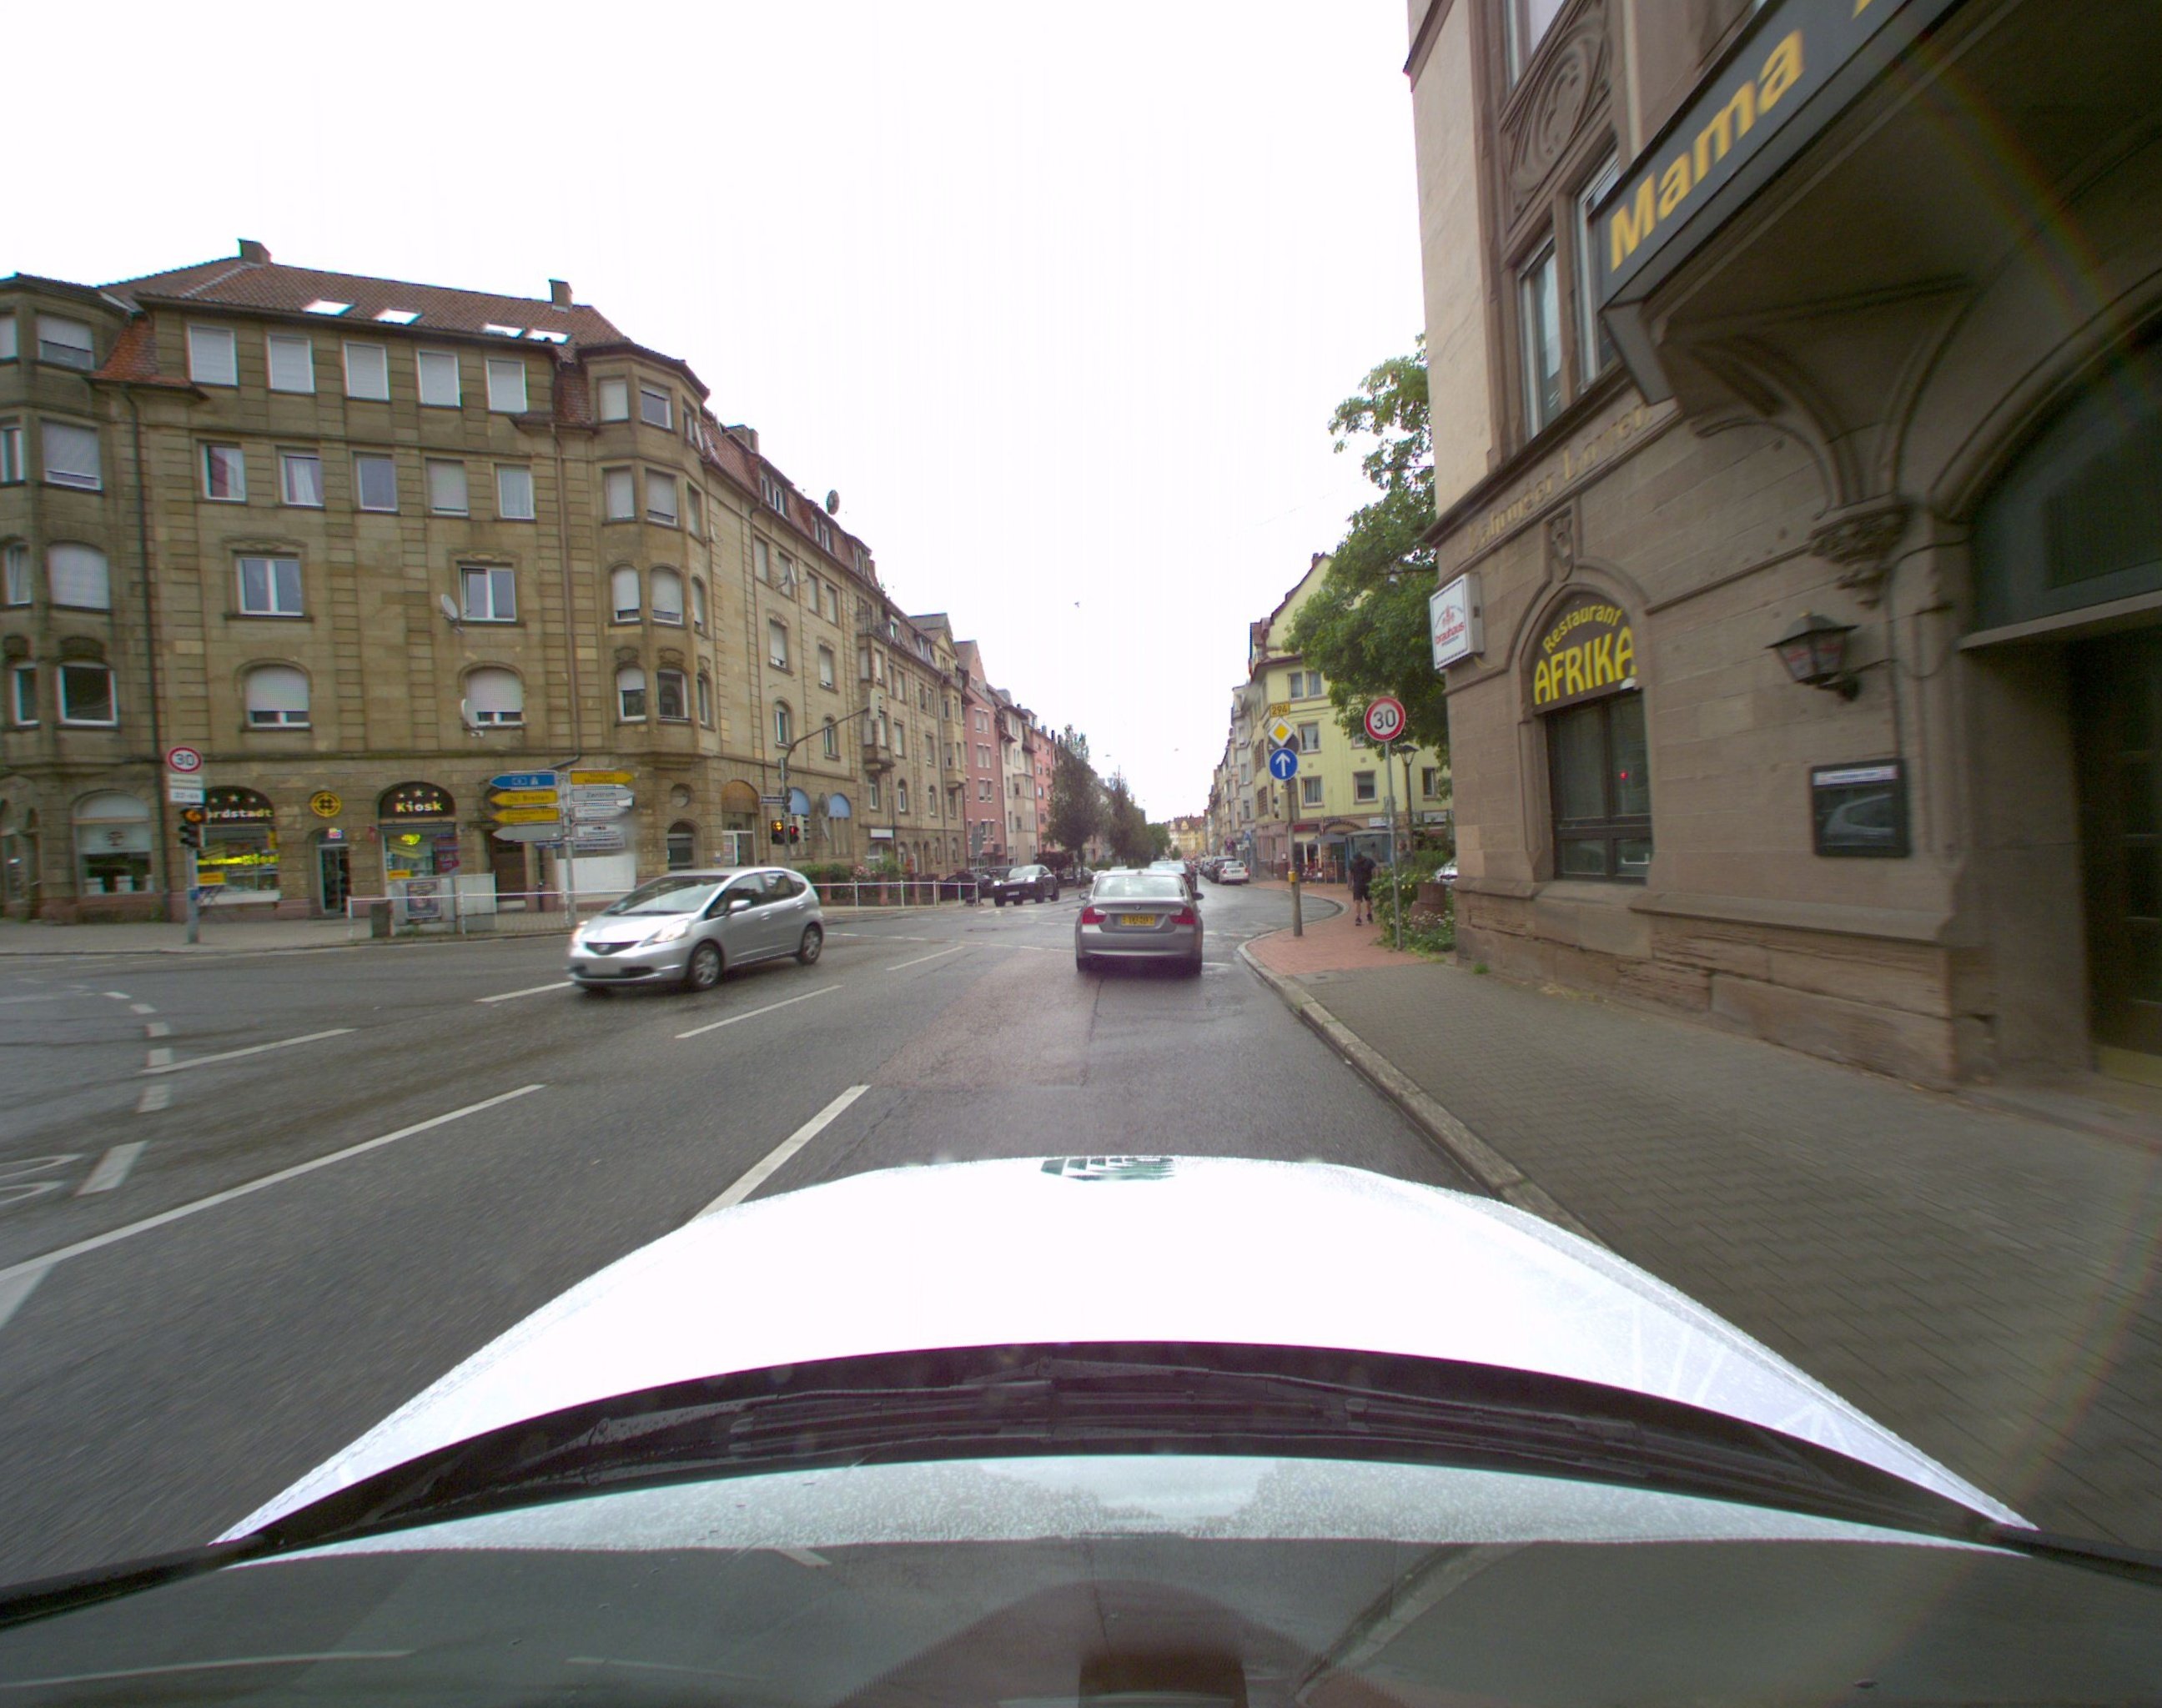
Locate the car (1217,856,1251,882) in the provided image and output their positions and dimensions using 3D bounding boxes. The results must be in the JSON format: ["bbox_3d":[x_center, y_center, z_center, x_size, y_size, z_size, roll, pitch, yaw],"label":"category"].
[{"bbox_3d":[9.798,0.950,52.269,1.789,1.565,4.500,-2,-1,7],"label":"car"}]

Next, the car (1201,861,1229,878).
[{"bbox_3d":[12.382,1.419,75.562,1.868,1.467,4.775,-2,-2,1],"label":"car"}]

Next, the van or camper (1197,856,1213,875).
[{"bbox_3d":[19.278,1.857,126.602,2.020,2.869,6.906,0,-1,11],"label":"van or camper"}]

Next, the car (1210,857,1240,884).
[{"bbox_3d":[10.152,1.178,57.649,1.868,1.732,4.686,-2,-1,8],"label":"car"}]

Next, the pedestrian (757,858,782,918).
[{"bbox_3d":[-9.302,1.011,24.331,0.694,1.774,0.520,-1,-1,-21],"label":"pedestrian"}]

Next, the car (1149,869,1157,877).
[{"bbox_3d":[16.065,4.291,181.531,1.627,1.508,3.762,-6,-2,7],"label":"car"}]

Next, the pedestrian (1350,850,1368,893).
[{"bbox_3d":[11.597,0.714,33.971,0.553,1.775,0.549,-2,-1,36],"label":"pedestrian"}]

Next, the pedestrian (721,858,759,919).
[{"bbox_3d":[-9.781,0.986,23.368,0.833,1.702,0.631,0,-1,-42],"label":"pedestrian"}]

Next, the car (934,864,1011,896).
[{"bbox_3d":[-6.914,1.655,52.234,4.663,1.939,1.861,-1,-1,-2],"label":"car"}]

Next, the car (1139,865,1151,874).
[{"bbox_3d":[11.825,2.917,151.267,1.817,1.523,3.745,-5,-2,9],"label":"car"}]

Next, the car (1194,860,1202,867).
[{"bbox_3d":[28.345,2.343,197.094,1.868,1.731,4.449,-1,-1,8],"label":"car"}]

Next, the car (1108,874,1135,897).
[{"bbox_3d":[3.318,2.511,65.974,1.612,1.649,4.429,-6,-2,7],"label":"car"}]

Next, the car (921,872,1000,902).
[{"bbox_3d":[-6.980,1.904,47.270,4.124,1.511,1.877,-3,-1,7],"label":"car"}]

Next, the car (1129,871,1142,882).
[{"bbox_3d":[8.614,3.545,129.274,1.757,1.594,4.007,-5,-2,6],"label":"car"}]

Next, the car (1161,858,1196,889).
[{"bbox_3d":[5.068,1.037,42.699,1.689,1.483,3.799,-2,-2,6],"label":"car"}]

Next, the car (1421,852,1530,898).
[{"bbox_3d":[13.612,0.701,28.071,3.688,1.502,1.753,1,-1,-33],"label":"car"}]

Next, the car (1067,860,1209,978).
[{"bbox_3d":[0.851,0.843,12.207,1.761,1.428,3.745,-2,0,4],"label":"car"}]

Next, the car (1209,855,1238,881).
[{"bbox_3d":[11.115,1.083,63.670,1.909,1.827,5.019,-4,-2,7],"label":"car"}]

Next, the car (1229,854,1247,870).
[{"bbox_3d":[18.253,1.003,94.642,1.717,1.670,4.297,-5,-2,7],"label":"car"}]

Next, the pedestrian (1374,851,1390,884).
[{"bbox_3d":[12.017,0.541,32.535,0.564,1.280,0.622,-1,-1,20],"label":"pedestrian"}]

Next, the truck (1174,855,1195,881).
[{"bbox_3d":[10.249,1.411,80.698,2.021,2.413,4.835,-2,-2,7],"label":"truck"}]

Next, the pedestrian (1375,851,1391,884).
[{"bbox_3d":[11.828,0.544,31.904,0.564,1.280,0.537,-1,-1,20],"label":"pedestrian"}]

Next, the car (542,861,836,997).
[{"bbox_3d":[-5.113,0.890,11.278,1.614,1.518,3.883,-2,-1,12],"label":"car"}]

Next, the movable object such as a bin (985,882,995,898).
[{"bbox_3d":[-5.468,2.145,48.945,0.501,0.950,0.442,-2,-2,13],"label":"movable object such as a bin"}]

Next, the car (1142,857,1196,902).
[{"bbox_3d":[3.129,0.873,28.405,1.672,1.428,3.749,-2,-2,9],"label":"car"}]

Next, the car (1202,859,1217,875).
[{"bbox_3d":[18.328,1.867,116.268,1.971,2.166,4.759,-4,-2,7],"label":"car"}]

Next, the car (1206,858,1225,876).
[{"bbox_3d":[16.806,1.640,101.962,1.971,2.007,4.634,-4,-2,7],"label":"car"}]

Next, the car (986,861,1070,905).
[{"bbox_3d":[-2.153,1.220,34.541,1.950,1.693,4.827,-3,-3,16],"label":"car"}]

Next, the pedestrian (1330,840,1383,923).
[{"bbox_3d":[5.801,0.574,17.119,0.820,1.679,0.899,-2,-1,33],"label":"pedestrian"}]

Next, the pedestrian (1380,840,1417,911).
[{"bbox_3d":[7.987,0.534,20.501,0.735,1.734,0.566,0,-1,-43],"label":"pedestrian"}]

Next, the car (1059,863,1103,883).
[{"bbox_3d":[0.015,2.279,96.539,4.803,1.974,2.052,-4,-2,7],"label":"car"}]
